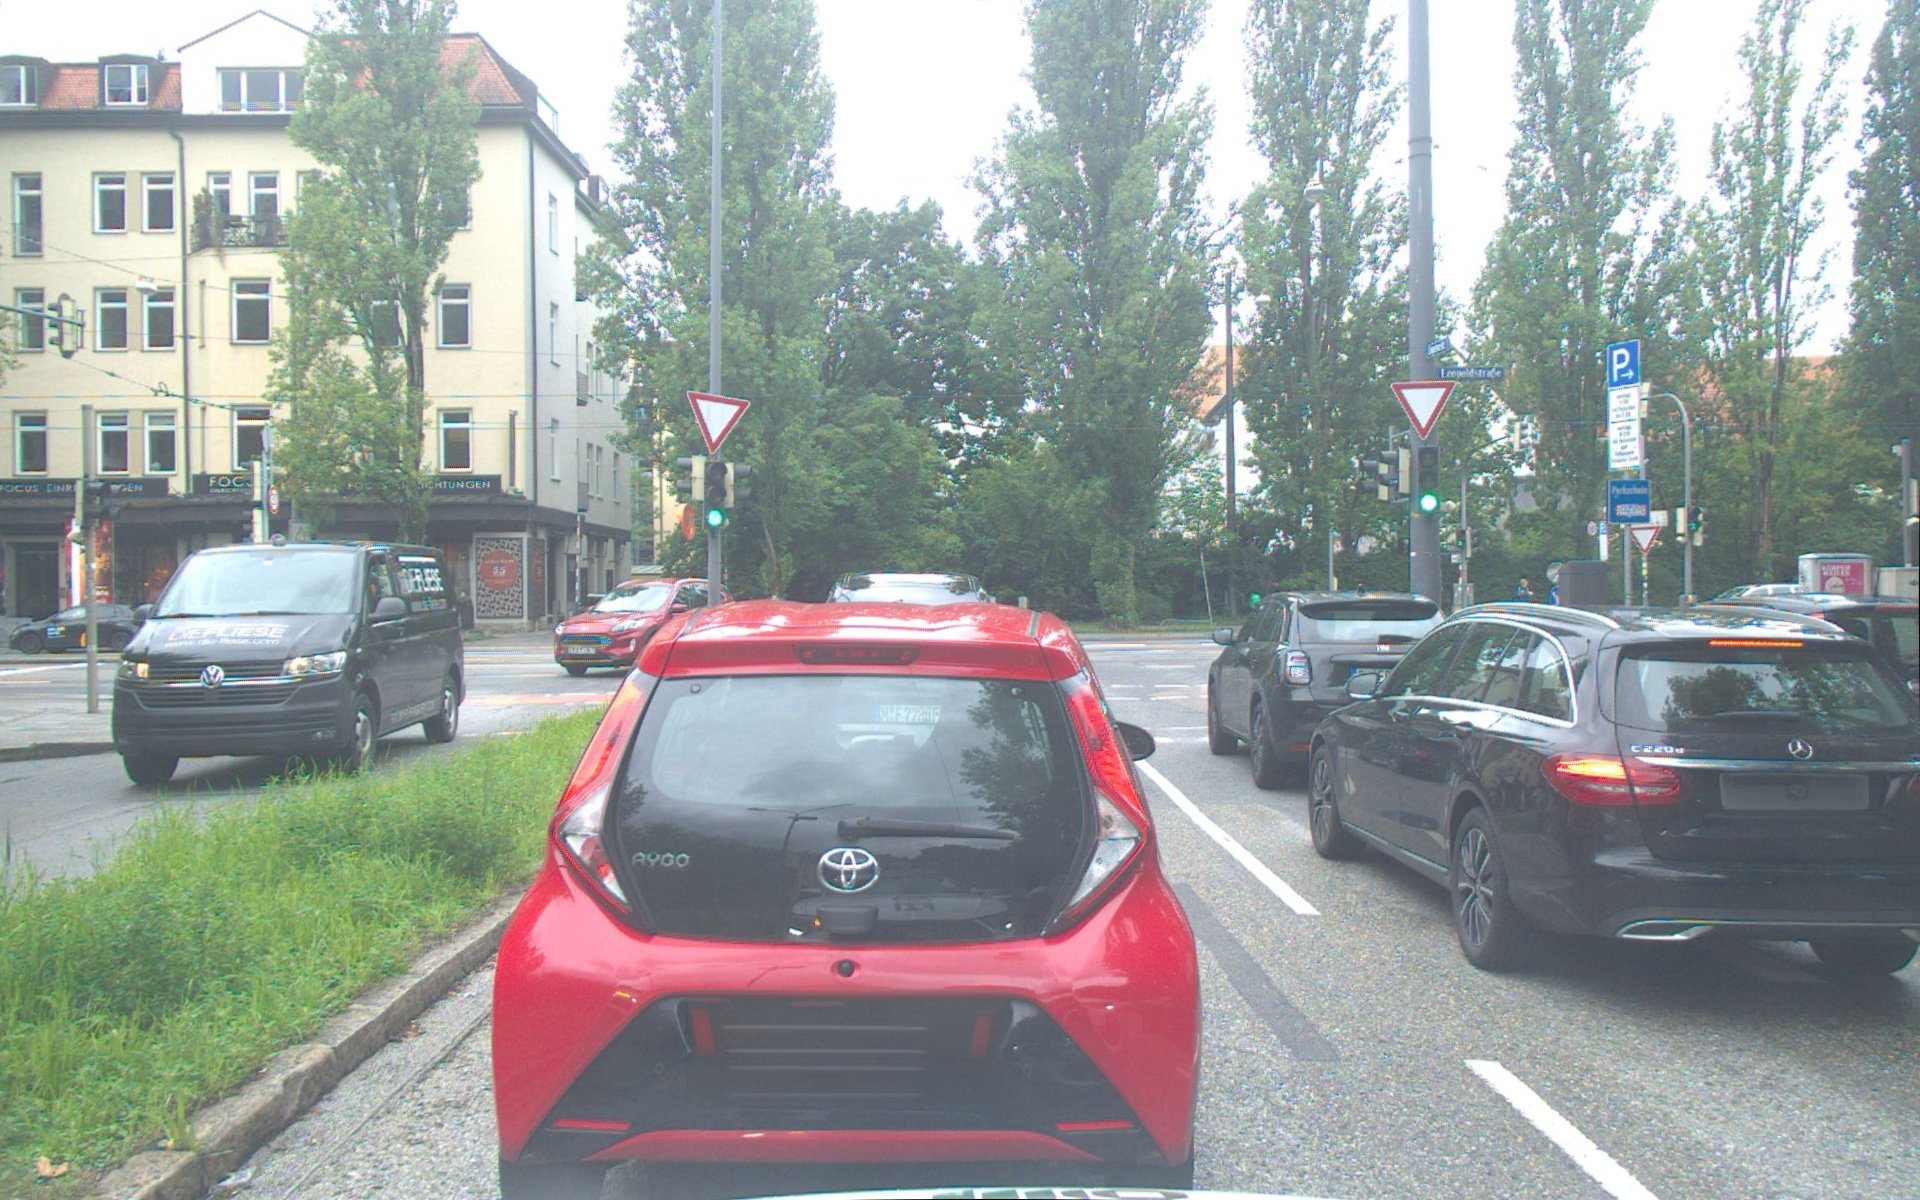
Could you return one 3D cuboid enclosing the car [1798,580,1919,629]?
[{"bbox_3d":[29.678,0.141,53.613,4.160,1.512,1.786,-1,0,-3],"label":"car"}]

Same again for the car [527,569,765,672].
[{"bbox_3d":[-5.706,0.320,30.807,2.060,1.666,4.941,-1,2,21],"label":"car"}]

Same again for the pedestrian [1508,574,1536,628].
[{"bbox_3d":[17.731,0.035,52.158,0.689,1.692,0.549,0,-1,39],"label":"pedestrian"}]

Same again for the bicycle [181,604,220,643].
[{"bbox_3d":[-24.346,0.751,53.046,0.485,1.206,1.888,-1,0,-4],"label":"bicycle"}]

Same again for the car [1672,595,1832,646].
[{"bbox_3d":[25.178,0.642,52.684,4.251,1.512,1.786,-1,0,-3],"label":"car"}]

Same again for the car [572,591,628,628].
[{"bbox_3d":[-14.980,0.388,68.981,1.691,1.467,3.997,-1,0,-4],"label":"car"}]

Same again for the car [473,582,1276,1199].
[{"bbox_3d":[-0.155,0.692,5.004,1.595,1.465,3.377,-1,0,0],"label":"car"}]

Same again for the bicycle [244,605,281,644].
[{"bbox_3d":[-22.330,0.759,53.006,0.485,1.206,1.888,-1,0,-4],"label":"bicycle"}]

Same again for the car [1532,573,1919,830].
[{"bbox_3d":[6.000,0.599,12.474,1.793,1.576,4.554,-1,0,0],"label":"car"}]

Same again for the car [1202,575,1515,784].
[{"bbox_3d":[3.227,0.583,14.173,1.744,1.512,4.000,-1,0,1],"label":"car"}]

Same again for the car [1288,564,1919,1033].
[{"bbox_3d":[2.988,0.663,7.970,1.825,1.576,4.703,1,0,-1],"label":"car"}]

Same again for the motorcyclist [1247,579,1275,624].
[{"bbox_3d":[9.996,0.054,54.910,0.860,1.468,0.621,1,-1,5],"label":"motorcyclist"}]

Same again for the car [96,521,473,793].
[{"bbox_3d":[-5.782,0.408,14.835,1.821,2.025,4.699,-1,0,-6],"label":"car"}]

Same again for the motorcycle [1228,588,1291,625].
[{"bbox_3d":[9.941,0.206,54.918,1.980,1.190,0.631,1,-1,4],"label":"motorcycle"}]

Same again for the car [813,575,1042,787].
[{"bbox_3d":[-0.224,0.589,14.715,1.700,1.576,4.576,-1,0,0],"label":"car"}]

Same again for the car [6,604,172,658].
[{"bbox_3d":[-25.591,0.892,48.703,3.909,1.491,1.803,-1,0,-5],"label":"car"}]
